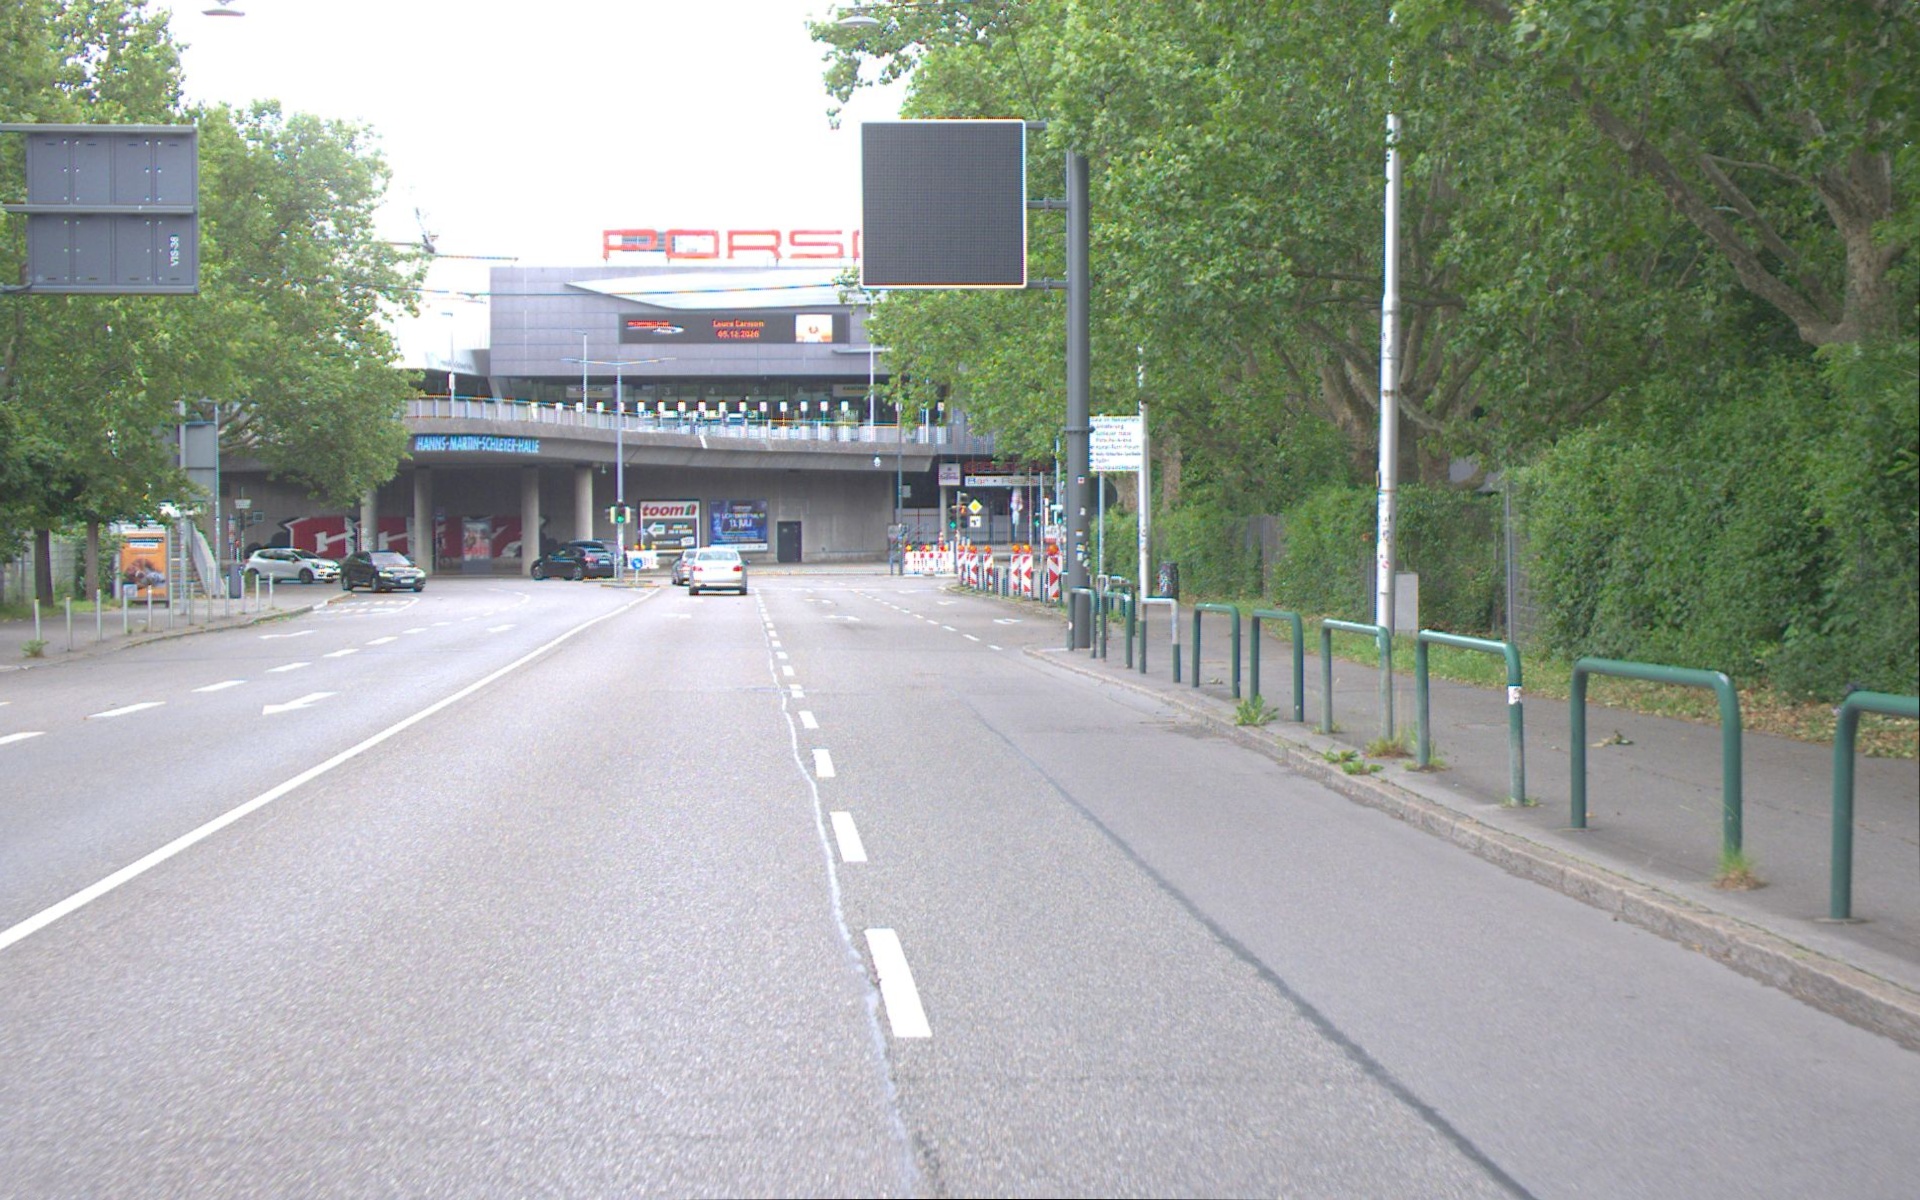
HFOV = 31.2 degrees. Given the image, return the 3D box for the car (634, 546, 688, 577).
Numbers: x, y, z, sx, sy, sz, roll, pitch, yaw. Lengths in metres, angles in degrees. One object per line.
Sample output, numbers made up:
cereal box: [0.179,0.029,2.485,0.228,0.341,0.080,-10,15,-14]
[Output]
car: [-11.454,-1.494,131.522,1.411,1.109,3.039,1,1,-17]

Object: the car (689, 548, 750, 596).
car: [-7.587,-0.898,108.774,1.778,1.455,3.822,1,1,-3]

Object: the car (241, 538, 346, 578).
car: [-26.889,-1.703,138.715,3.874,1.573,1.624,0,1,22]

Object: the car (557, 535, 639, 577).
car: [-15.154,-1.851,143.780,2.007,1.693,4.070,0,1,-28]

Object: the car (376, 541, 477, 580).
car: [-19.003,-1.418,122.437,3.581,1.268,1.657,3,1,42]
